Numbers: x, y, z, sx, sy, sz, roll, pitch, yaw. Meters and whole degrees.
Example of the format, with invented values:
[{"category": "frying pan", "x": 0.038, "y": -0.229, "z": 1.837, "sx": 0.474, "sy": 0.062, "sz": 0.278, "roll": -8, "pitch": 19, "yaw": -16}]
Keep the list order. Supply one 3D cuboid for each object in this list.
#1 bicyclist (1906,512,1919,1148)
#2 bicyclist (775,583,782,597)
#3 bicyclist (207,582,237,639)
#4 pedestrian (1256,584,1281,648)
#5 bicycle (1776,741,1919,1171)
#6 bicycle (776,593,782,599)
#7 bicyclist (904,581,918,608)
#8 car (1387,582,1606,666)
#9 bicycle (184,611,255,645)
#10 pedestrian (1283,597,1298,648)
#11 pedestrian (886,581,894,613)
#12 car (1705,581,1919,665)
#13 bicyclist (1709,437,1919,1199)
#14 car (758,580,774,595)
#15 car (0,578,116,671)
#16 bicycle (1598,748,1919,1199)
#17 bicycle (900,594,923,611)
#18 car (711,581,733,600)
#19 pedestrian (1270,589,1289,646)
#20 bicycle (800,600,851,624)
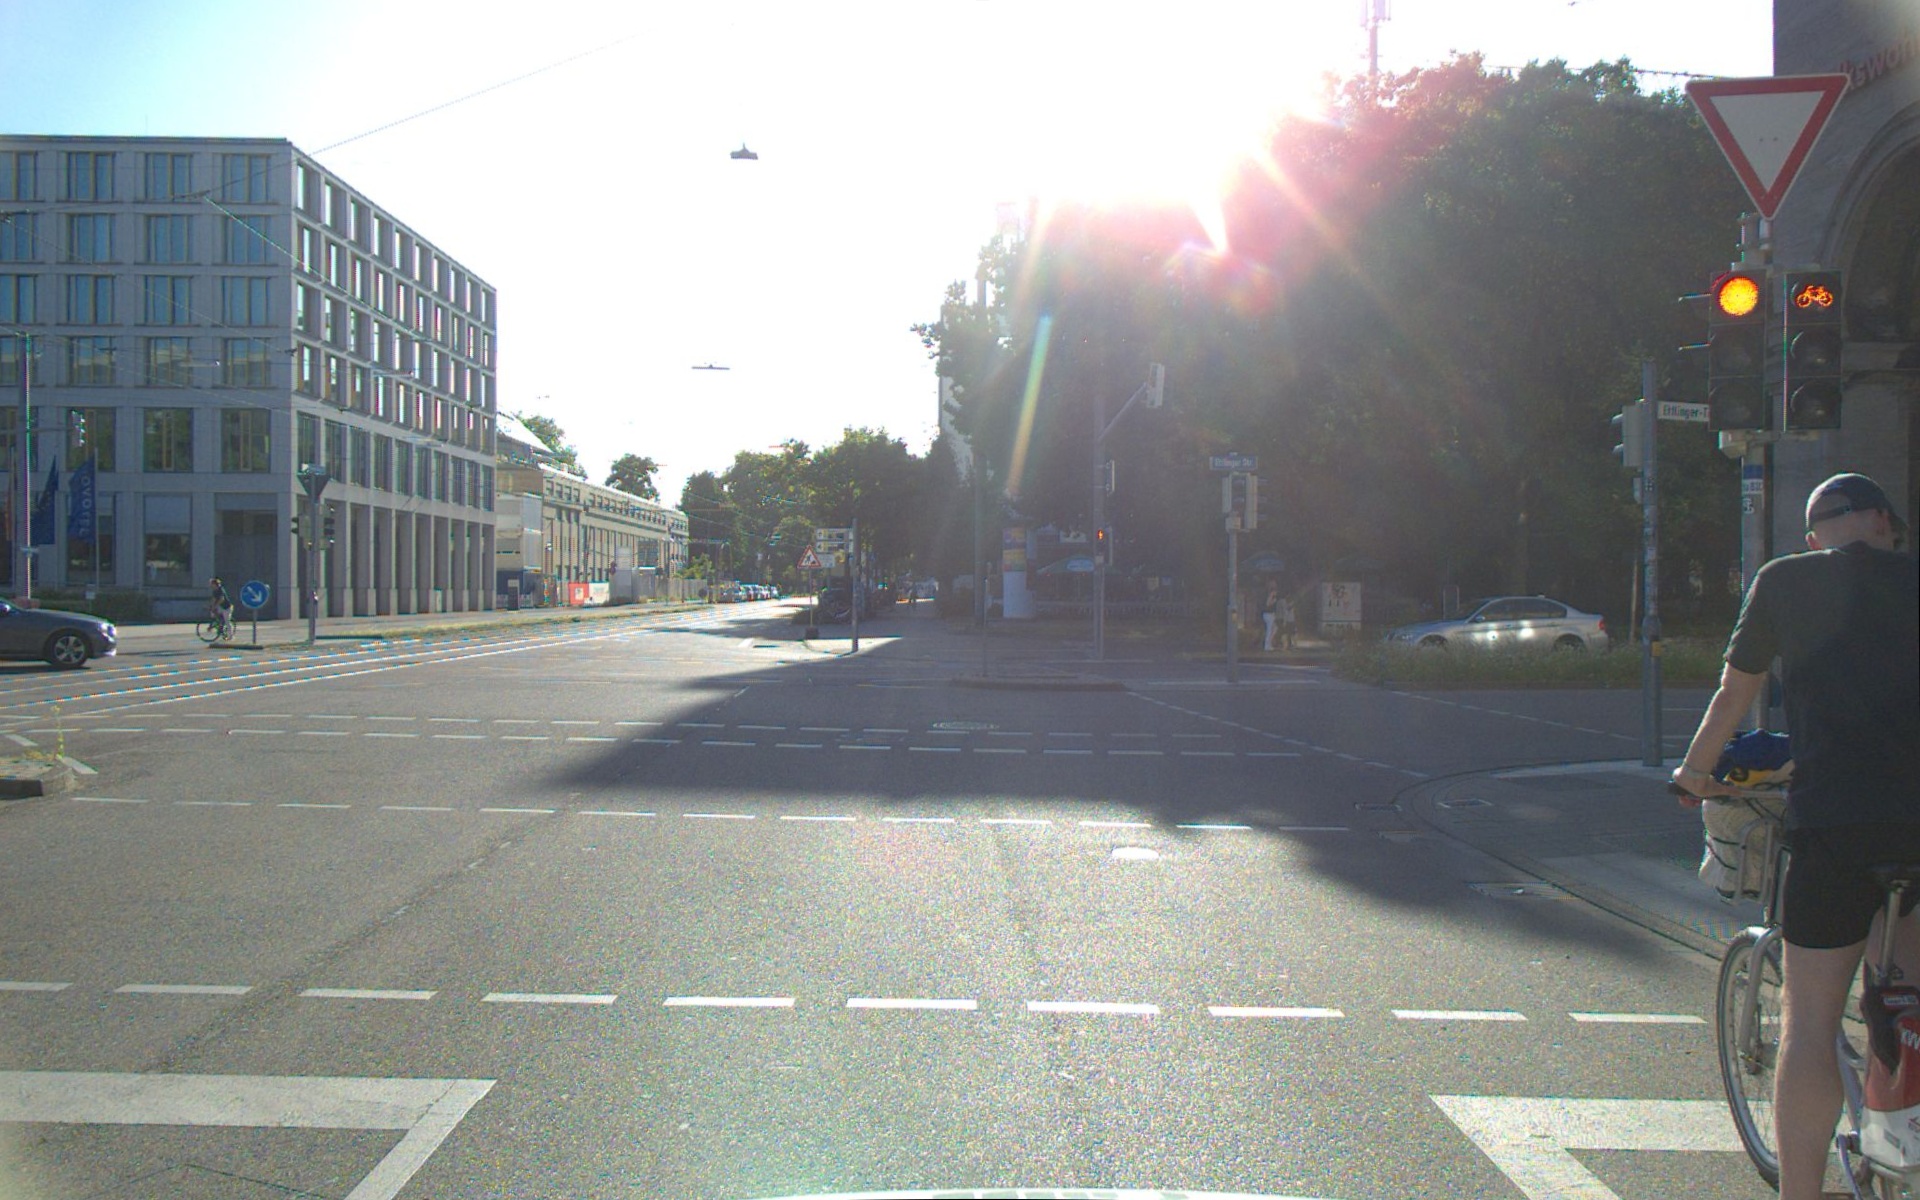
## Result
[{"category": "bicyclist", "x": 2.888, "y": 0.626, "z": 4.228, "sx": 0.546, "sy": 1.721, "sz": 0.640, "roll": 1, "pitch": 0, "yaw": -2}, {"category": "bicyclist", "x": -18.197, "y": -0.968, "z": 166.065, "sx": 0.584, "sy": 1.401, "sz": 0.637, "roll": 1, "pitch": -1, "yaw": -2}, {"category": "bicyclist", "x": -21.124, "y": 0.294, "z": 47.356, "sx": 0.764, "sy": 1.617, "sz": 0.756, "roll": 0, "pitch": 0, "yaw": -23}, {"category": "pedestrian", "x": 8.246, "y": 0.414, "z": 44.227, "sx": 0.571, "sy": 1.692, "sz": 0.514, "roll": 1, "pitch": 1, "yaw": 1}, {"category": "bicycle", "x": 2.863, "y": 0.998, "z": 4.336, "sx": 0.523, "sy": 1.096, "sz": 1.750, "roll": 1, "pitch": 0, "yaw": -2}, {"category": "bicycle", "x": -18.184, "y": -0.399, "z": 166.047, "sx": 0.491, "sy": 0.524, "sz": 1.257, "roll": 1, "pitch": 0, "yaw": -1}, {"category": "bicyclist", "x": -3.129, "y": -0.348, "z": 105.949, "sx": 0.565, "sy": 1.721, "sz": 0.690, "roll": 0, "pitch": 0, "yaw": -37}, {"category": "car", "x": 10.841, "y": 0.474, "z": 33.562, "sx": 3.912, "sy": 1.639, "sz": 1.650, "roll": 0, "pitch": 0, "yaw": -1}, {"category": "bicycle", "x": -21.206, "y": 0.798, "z": 47.367, "sx": 1.834, "sy": 0.951, "sz": 0.757, "roll": 0, "pitch": 0, "yaw": -25}, {"category": "pedestrian", "x": 8.706, "y": 0.584, "z": 43.553, "sx": 0.310, "sy": 1.339, "sz": 0.345, "roll": 1, "pitch": 1, "yaw": 1}, {"category": "pedestrian", "x": -4.151, "y": -0.180, "z": 98.171, "sx": 0.454, "sy": 1.845, "sz": 0.502, "roll": 0, "pitch": 0, "yaw": -5}, {"category": "car", "x": 17.416, "y": 0.446, "z": 33.646, "sx": 3.770, "sy": 1.639, "sz": 1.650, "roll": 0, "pitch": 0, "yaw": -1}, {"category": "bicyclist", "x": 2.094, "y": 0.577, "z": 3.730, "sx": 0.547, "sy": 1.830, "sz": 0.550, "roll": 1, "pitch": 0, "yaw": 1}, {"category": "car", "x": -22.825, "y": -1.433, "z": 194.360, "sx": 1.659, "sy": 1.748, "sz": 4.244, "roll": 1, "pitch": 0, "yaw": -4}, {"category": "car", "x": -17.326, "y": 0.419, "z": 28.577, "sx": 4.748, "sy": 1.592, "sz": 1.877, "roll": 0, "pitch": 0, "yaw": -33}, {"category": "bicycle", "x": 2.076, "y": 0.979, "z": 3.888, "sx": 0.505, "sy": 1.096, "sz": 1.728, "roll": 1, "pitch": 0, "yaw": 1}, {"category": "bicycle", "x": -3.130, "y": 0.171, "z": 105.962, "sx": 0.571, "sy": 1.096, "sz": 1.806, "roll": 0, "pitch": 0, "yaw": -37}, {"category": "car", "x": -22.467, "y": -0.896, "z": 156.111, "sx": 1.659, "sy": 1.748, "sz": 4.244, "roll": 1, "pitch": 0, "yaw": -4}, {"category": "pedestrian", "x": 8.631, "y": 0.460, "z": 44.699, "sx": 0.430, "sy": 1.529, "sz": 0.437, "roll": 0, "pitch": 0, "yaw": 0}, {"category": "bicycle", "x": -5.483, "y": 0.506, "z": 67.382, "sx": 1.976, "sy": 0.907, "sz": 0.650, "roll": -2, "pitch": -1, "yaw": 27}]
